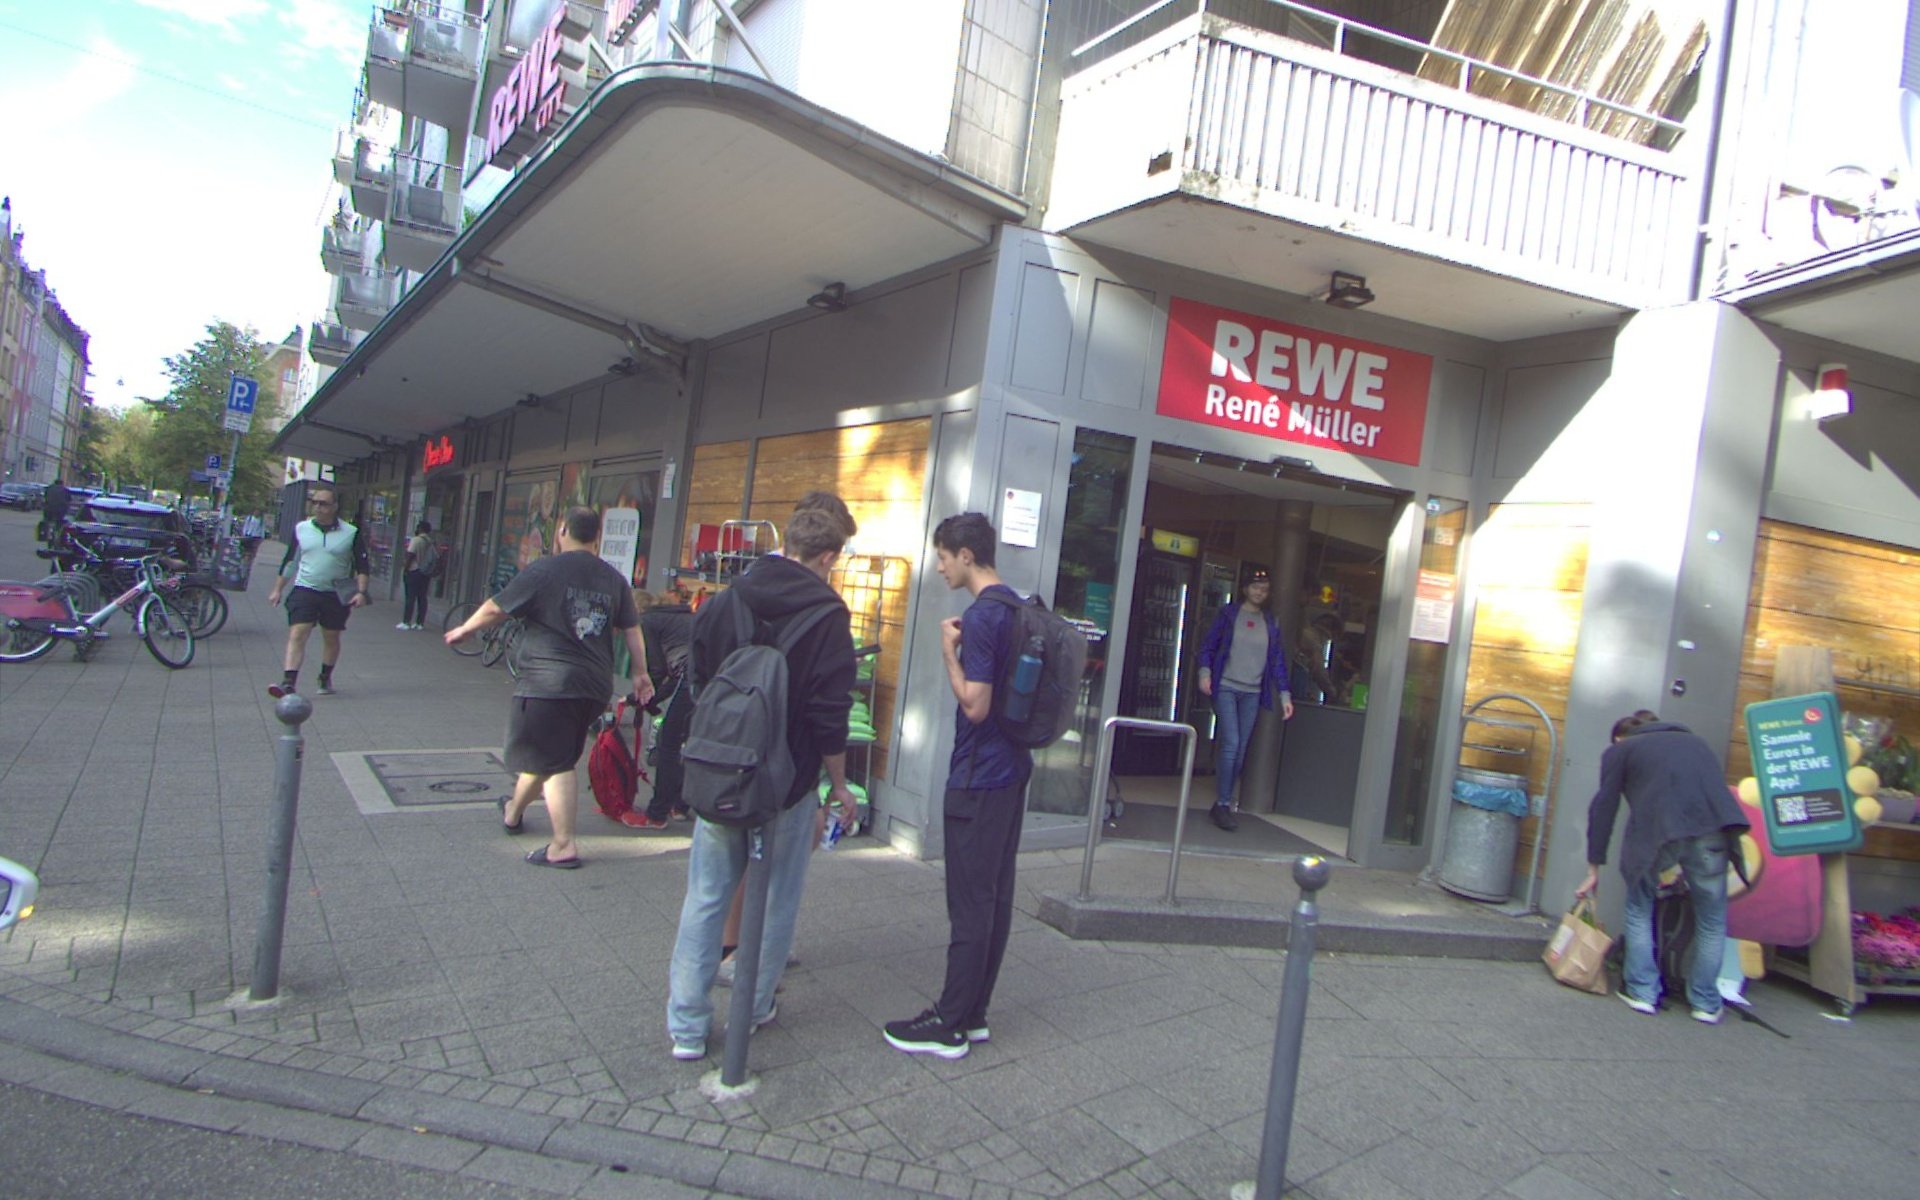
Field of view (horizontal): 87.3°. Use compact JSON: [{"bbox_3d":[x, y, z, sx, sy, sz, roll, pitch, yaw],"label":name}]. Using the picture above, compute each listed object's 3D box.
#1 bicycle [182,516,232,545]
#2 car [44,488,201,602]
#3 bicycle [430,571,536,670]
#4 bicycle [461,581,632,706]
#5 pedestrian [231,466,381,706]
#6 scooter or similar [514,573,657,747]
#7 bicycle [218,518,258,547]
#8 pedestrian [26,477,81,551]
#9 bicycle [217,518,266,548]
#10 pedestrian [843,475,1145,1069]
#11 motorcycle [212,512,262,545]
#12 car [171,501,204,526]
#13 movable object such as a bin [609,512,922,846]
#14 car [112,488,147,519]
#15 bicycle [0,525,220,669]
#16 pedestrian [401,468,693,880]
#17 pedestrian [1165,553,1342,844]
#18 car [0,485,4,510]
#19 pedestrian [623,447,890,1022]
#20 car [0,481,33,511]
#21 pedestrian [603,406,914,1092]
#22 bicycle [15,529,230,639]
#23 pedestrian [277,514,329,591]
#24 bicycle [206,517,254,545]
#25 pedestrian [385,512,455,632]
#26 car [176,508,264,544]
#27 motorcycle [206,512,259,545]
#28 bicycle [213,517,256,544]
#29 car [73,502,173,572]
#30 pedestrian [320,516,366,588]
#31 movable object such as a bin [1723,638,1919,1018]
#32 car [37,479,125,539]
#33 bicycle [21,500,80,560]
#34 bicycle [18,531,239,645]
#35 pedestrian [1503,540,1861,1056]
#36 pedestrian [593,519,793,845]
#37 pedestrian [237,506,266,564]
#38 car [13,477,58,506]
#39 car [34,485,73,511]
[{"bbox_3d":[-34.255,-3.148,45.770,1.758,1.070,0.406,5,2,-43],"label":"bicycle"},{"bbox_3d":[-14.428,-0.988,17.527,1.782,1.626,3.884,5,2,-36],"label":"car"},{"bbox_3d":[-5.948,0.234,12.500,0.737,1.028,1.763,4,2,-39],"label":"bicycle"},{"bbox_3d":[-4.222,0.427,10.228,1.706,1.056,0.676,6,0,33],"label":"bicycle"},{"bbox_3d":[-5.510,-0.114,8.548,0.877,1.858,1.039,5,2,-30],"label":"pedestrian"},{"bbox_3d":[-3.058,0.458,8.157,0.629,1.229,1.242,4,2,-40],"label":"scooter or similar"},{"bbox_3d":[-34.161,-3.201,47.618,1.487,1.161,0.407,5,2,-38],"label":"bicycle"},{"bbox_3d":[-22.028,-2.088,24.464,0.714,1.669,0.921,9,0,-36],"label":"pedestrian"},{"bbox_3d":[-33.006,-3.071,46.226,1.754,1.177,0.644,5,2,-35],"label":"bicycle"},{"bbox_3d":[0.086,0.536,3.467,0.646,1.822,0.654,4,3,-24],"label":"pedestrian"},{"bbox_3d":[-40.231,-3.993,56.042,2.135,1.550,0.680,5,2,-33],"label":"motorcycle"},{"bbox_3d":[-63.203,-7.082,82.369,1.922,1.657,3.959,9,-1,-37],"label":"car"},{"bbox_3d":[-1.362,0.379,6.487,0.776,1.766,2.397,7,0,-38],"label":"movable object such as a bin"},{"bbox_3d":[-64.580,-7.523,78.286,1.775,2.043,3.846,9,-1,-38],"label":"car"},{"bbox_3d":[-7.924,-0.028,9.122,1.873,1.140,0.897,5,2,-40],"label":"bicycle"},{"bbox_3d":[-2.047,0.301,4.958,1.034,1.770,0.847,8,3,42],"label":"pedestrian"},{"bbox_3d":[1.970,0.637,6.909,0.751,1.775,0.930,8,1,3],"label":"pedestrian"},{"bbox_3d":[-47.643,-5.031,48.436,1.682,1.453,3.829,10,-2,-36],"label":"car"},{"bbox_3d":[-0.684,0.447,3.571,0.702,1.822,0.631,5,3,-4],"label":"pedestrian"},{"bbox_3d":[-53.574,-5.881,56.411,1.685,1.383,3.829,14,-5,-36],"label":"car"},{"bbox_3d":[-0.576,0.407,3.096,0.620,1.822,0.714,6,3,4],"label":"pedestrian"},{"bbox_3d":[-9.580,-0.158,11.563,0.578,1.084,1.783,8,2,42],"label":"bicycle"},{"bbox_3d":[-14.811,-1.078,22.669,0.819,1.608,0.773,7,1,-36],"label":"pedestrian"},{"bbox_3d":[-35.013,-3.302,48.258,0.405,1.161,1.766,7,2,33],"label":"bicycle"},{"bbox_3d":[-8.442,-0.438,15.712,0.710,1.770,0.808,4,3,-39],"label":"pedestrian"},{"bbox_3d":[-42.163,-4.222,57.359,1.707,1.566,3.752,6,0,42],"label":"car"},{"bbox_3d":[-38.630,-3.792,53.446,2.135,1.453,0.758,5,2,-33],"label":"motorcycle"},{"bbox_3d":[-37.478,-3.602,51.978,1.721,1.174,0.495,5,2,-36],"label":"bicycle"},{"bbox_3d":[-21.504,-1.653,25.982,1.587,1.457,3.990,7,0,-36],"label":"car"},{"bbox_3d":[-17.096,-1.318,27.872,0.697,1.883,0.643,7,0,-8],"label":"pedestrian"},{"bbox_3d":[5.113,1.207,5.340,1.525,1.777,0.688,7,2,-15],"label":"movable object such as a bin"},{"bbox_3d":[-32.299,-3.309,37.080,1.956,1.761,4.000,9,-2,-37],"label":"car"},{"bbox_3d":[-22.054,-1.703,24.427,0.714,1.289,1.865,9,-1,-36],"label":"bicycle"},{"bbox_3d":[-9.156,-0.105,11.136,0.561,1.084,1.783,8,2,42],"label":"bicycle"},{"bbox_3d":[3.300,0.824,4.728,1.017,2.040,0.861,8,3,32],"label":"pedestrian"},{"bbox_3d":[-1.493,0.423,5.594,0.718,1.654,0.704,4,3,-39],"label":"pedestrian"},{"bbox_3d":[-22.700,-2.078,32.220,0.608,1.748,1.115,6,2,-36],"label":"pedestrian"},{"bbox_3d":[-60.900,-7.153,66.289,1.683,1.568,3.826,9,0,-38],"label":"car"},{"bbox_3d":[-68.150,-7.630,75.665,1.683,1.568,3.827,10,-2,-38],"label":"car"}]
